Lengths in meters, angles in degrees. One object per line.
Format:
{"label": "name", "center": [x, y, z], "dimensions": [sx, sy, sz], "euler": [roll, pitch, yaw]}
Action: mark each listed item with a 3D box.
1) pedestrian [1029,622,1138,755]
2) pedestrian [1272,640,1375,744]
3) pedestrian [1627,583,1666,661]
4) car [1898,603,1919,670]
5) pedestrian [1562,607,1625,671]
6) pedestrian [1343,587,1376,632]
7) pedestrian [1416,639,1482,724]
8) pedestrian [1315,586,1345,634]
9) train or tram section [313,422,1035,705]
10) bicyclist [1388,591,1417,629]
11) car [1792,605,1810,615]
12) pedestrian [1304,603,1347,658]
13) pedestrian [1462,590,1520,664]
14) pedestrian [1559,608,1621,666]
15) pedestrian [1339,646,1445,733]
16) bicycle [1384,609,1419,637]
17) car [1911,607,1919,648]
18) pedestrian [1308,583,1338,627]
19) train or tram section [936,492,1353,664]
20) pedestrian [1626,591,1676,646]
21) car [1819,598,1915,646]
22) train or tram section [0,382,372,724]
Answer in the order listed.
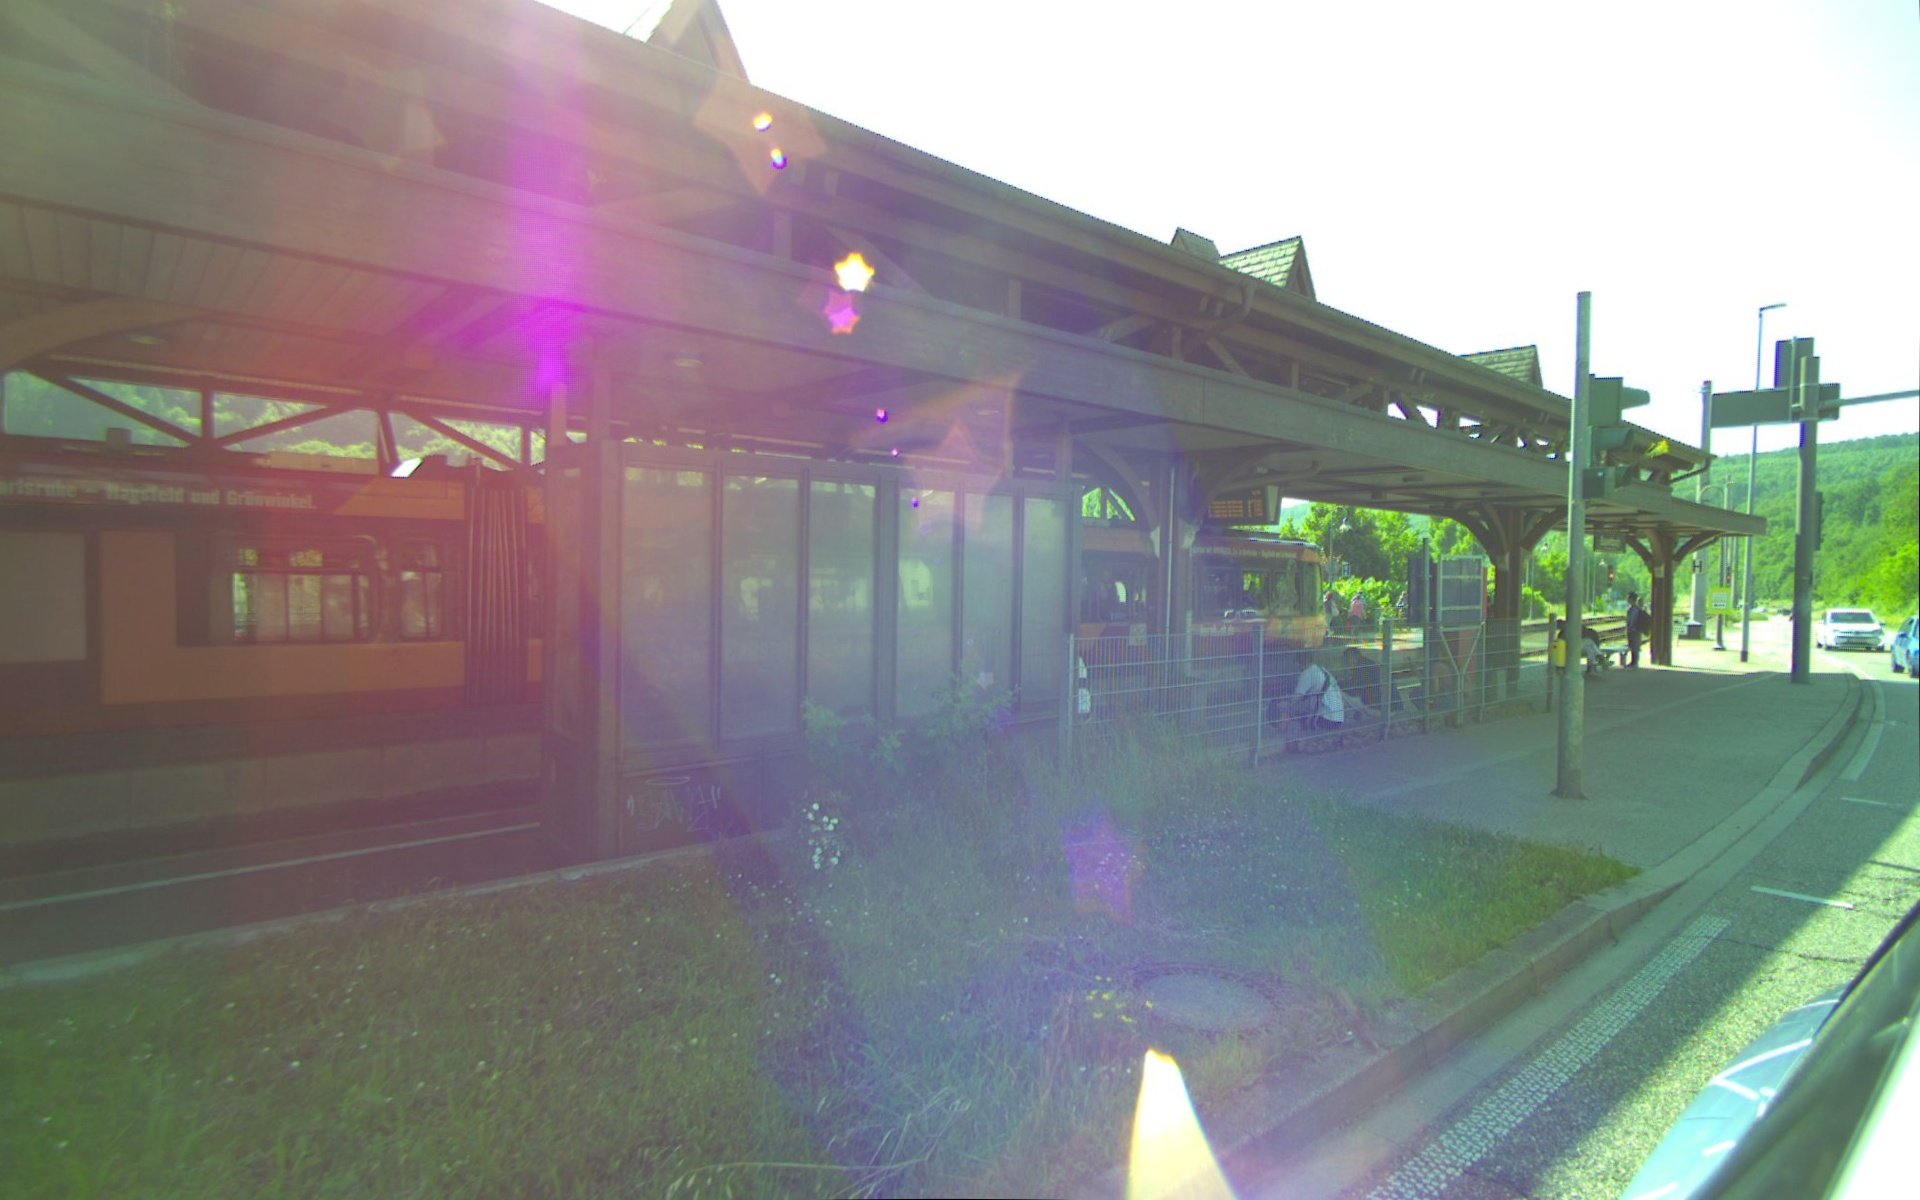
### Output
{"label": "pedestrian", "center": [1.111, 0.765, 9.113], "dimensions": [0.656, 1.131, 0.742], "euler": [2, -3, -45]}
{"label": "pedestrian", "center": [3.699, 0.908, 10.300], "dimensions": [0.756, 0.995, 0.742], "euler": [2, -3, -45]}
{"label": "pedestrian", "center": [15.460, 0.491, 22.797], "dimensions": [0.655, 1.713, 0.729], "euler": [1, 0, 39]}
{"label": "car", "center": [22.836, 0.844, 22.885], "dimensions": [1.855, 1.501, 4.245], "euler": [1, 1, 36]}
{"label": "pedestrian", "center": [12.675, 0.777, 20.262], "dimensions": [0.989, 1.252, 0.588], "euler": [-1, -3, 39]}
{"label": "pedestrian", "center": [15.299, 0.366, 38.799], "dimensions": [0.805, 1.706, 0.905], "euler": [1, -2, -11]}
{"label": "pedestrian", "center": [5.905, 0.969, 12.232], "dimensions": [0.400, 0.978, 0.617], "euler": [2, -3, -44]}
{"label": "pedestrian", "center": [13.327, 0.373, 36.448], "dimensions": [0.896, 1.706, 0.814], "euler": [-1, -2, 29]}
{"label": "train or tram section", "center": [-3.830, -0.452, 17.221], "dimensions": [11.841, 3.407, 2.790], "euler": [0, -1, -42]}
{"label": "bicyclist", "center": [20.809, 0.470, 47.617], "dimensions": [1.006, 1.749, 0.853], "euler": [-1, -3, 42]}
{"label": "car", "center": [157.194, 1.892, 189.205], "dimensions": [1.984, 1.706, 3.953], "euler": [-1, -2, 32]}
{"label": "pedestrian", "center": [12.776, 1.059, 35.332], "dimensions": [1.053, 1.867, 0.989], "euler": [3, -2, -38]}
{"label": "pedestrian", "center": [11.704, 0.587, 22.303], "dimensions": [0.907, 1.567, 0.861], "euler": [2, -1, -43]}
{"label": "pedestrian", "center": [13.267, 0.759, 21.308], "dimensions": [1.004, 1.174, 0.935], "euler": [0, 0, 39]}
{"label": "pedestrian", "center": [4.797, 0.970, 11.248], "dimensions": [0.794, 0.885, 0.845], "euler": [2, -3, -45]}
{"label": "bicycle", "center": [20.760, 1.097, 47.548], "dimensions": [0.869, 1.270, 2.260], "euler": [-1, -2, 41]}
{"label": "car", "center": [36.910, 1.030, 37.378], "dimensions": [1.967, 1.523, 3.936], "euler": [0, -1, 35]}
{"label": "pedestrian", "center": [14.252, 0.198, 39.735], "dimensions": [0.809, 1.706, 0.865], "euler": [2, -3, -45]}
{"label": "train or tram section", "center": [5.528, -0.432, 25.985], "dimensions": [14.115, 3.407, 2.858], "euler": [0, 0, -44]}
{"label": "pedestrian", "center": [22.550, 0.622, 33.040], "dimensions": [0.902, 1.759, 1.246], "euler": [0, -2, 12]}
{"label": "car", "center": [32.473, 0.768, 36.350], "dimensions": [1.986, 1.605, 3.950], "euler": [-1, -1, 34]}
{"label": "train or tram section", "center": [-12.482, -0.484, 9.399], "dimensions": [11.834, 3.407, 2.760], "euler": [1, -2, -40]}
